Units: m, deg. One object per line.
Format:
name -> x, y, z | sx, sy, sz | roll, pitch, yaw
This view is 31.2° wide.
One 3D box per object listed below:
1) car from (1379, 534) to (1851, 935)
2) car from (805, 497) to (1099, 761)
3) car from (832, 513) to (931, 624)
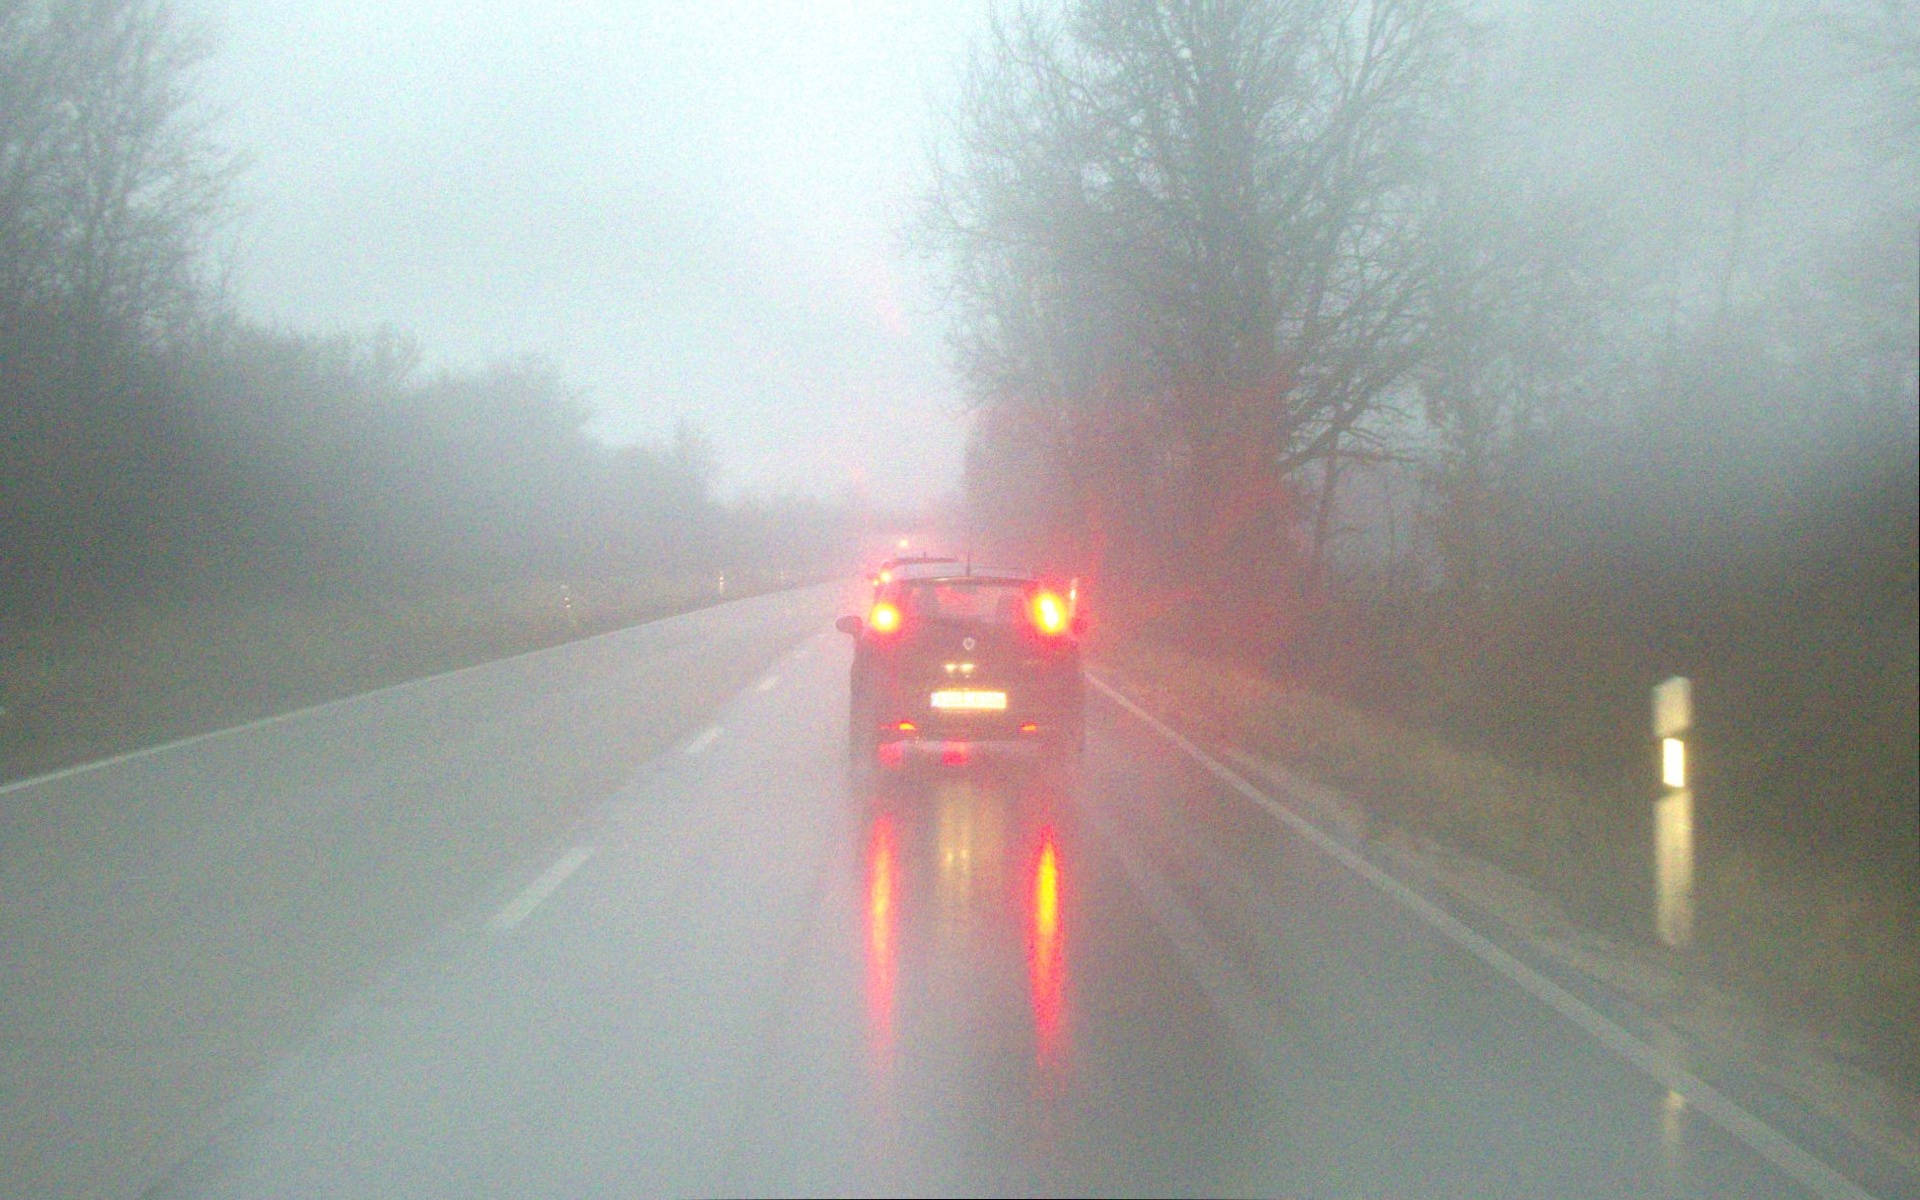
car -> 2.858, 0.512, 15.642 | 1.564, 1.586, 3.488 | 1, 1, 2
car -> -0.033, 0.165, 25.768 | 1.993, 1.778, 4.000 | 1, 1, 1
car -> -1.358, -0.573, 60.837 | 1.574, 1.868, 3.709 | 1, 1, 1
